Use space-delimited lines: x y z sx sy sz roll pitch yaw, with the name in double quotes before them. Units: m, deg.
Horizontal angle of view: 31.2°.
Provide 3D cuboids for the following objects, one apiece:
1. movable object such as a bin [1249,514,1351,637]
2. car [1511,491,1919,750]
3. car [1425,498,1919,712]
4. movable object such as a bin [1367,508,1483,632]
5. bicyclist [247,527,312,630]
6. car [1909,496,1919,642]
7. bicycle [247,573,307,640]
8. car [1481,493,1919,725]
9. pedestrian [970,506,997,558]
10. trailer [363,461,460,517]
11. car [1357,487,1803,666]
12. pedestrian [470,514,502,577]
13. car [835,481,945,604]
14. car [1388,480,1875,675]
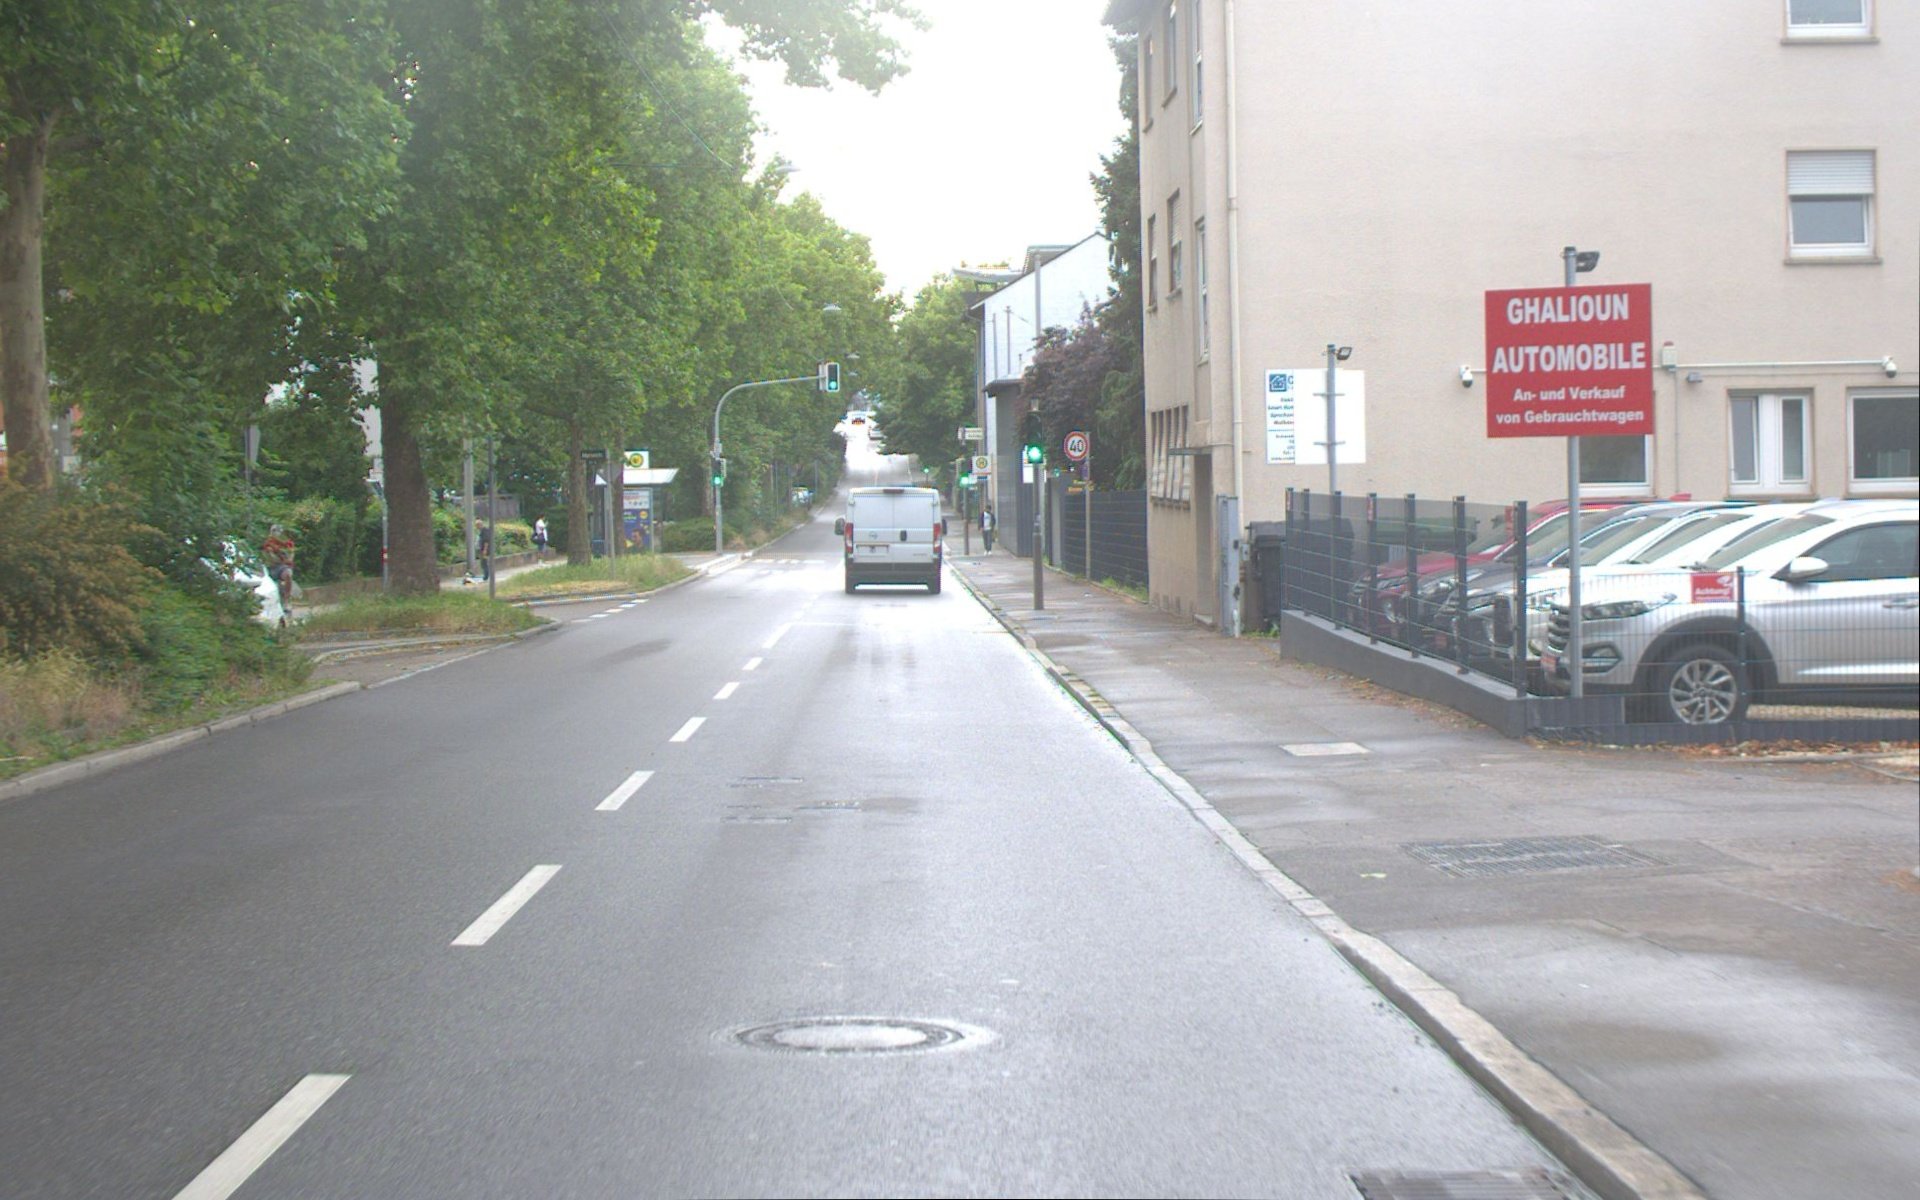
"movable object such as a bin" 4.314 -0.313 43.729 1.110 1.504 0.987 -2 0 -2
"car" 6.307 0.149 24.799 4.302 1.762 2.000 1 0 -1
"car" 6.231 0.040 29.886 4.066 1.730 1.870 1 0 -1
"movable object such as a bin" 5.894 -0.379 43.672 1.234 1.504 1.111 -2 0 -2
"bicyclist" -10.398 -0.331 52.537 0.832 1.547 0.817 1 0 -2
"car" 10.960 -0.302 34.405 1.808 1.525 3.628 1 0 -2
"bicycle" -10.415 0.085 52.484 0.554 0.992 2.266 1 0 -3
"car" 6.262 0.064 27.245 3.948 1.718 1.791 1 1 -1
"pedestrian" 0.786 -2.270 115.147 0.742 1.698 0.902 1 0 -6
"trailer" -16.598 -3.353 104.140 2.704 1.639 1.480 1 1 0
"car" 6.364 -0.239 35.624 4.228 1.730 1.870 1 0 -1
"pedestrian" -12.204 -1.390 88.494 0.755 1.605 0.835 1 0 -5
"car" -1.487 -1.203 73.432 2.282 2.544 4.000 0 0 -1
"car" 6.342 -0.212 32.806 4.228 1.730 1.870 1 0 -1
